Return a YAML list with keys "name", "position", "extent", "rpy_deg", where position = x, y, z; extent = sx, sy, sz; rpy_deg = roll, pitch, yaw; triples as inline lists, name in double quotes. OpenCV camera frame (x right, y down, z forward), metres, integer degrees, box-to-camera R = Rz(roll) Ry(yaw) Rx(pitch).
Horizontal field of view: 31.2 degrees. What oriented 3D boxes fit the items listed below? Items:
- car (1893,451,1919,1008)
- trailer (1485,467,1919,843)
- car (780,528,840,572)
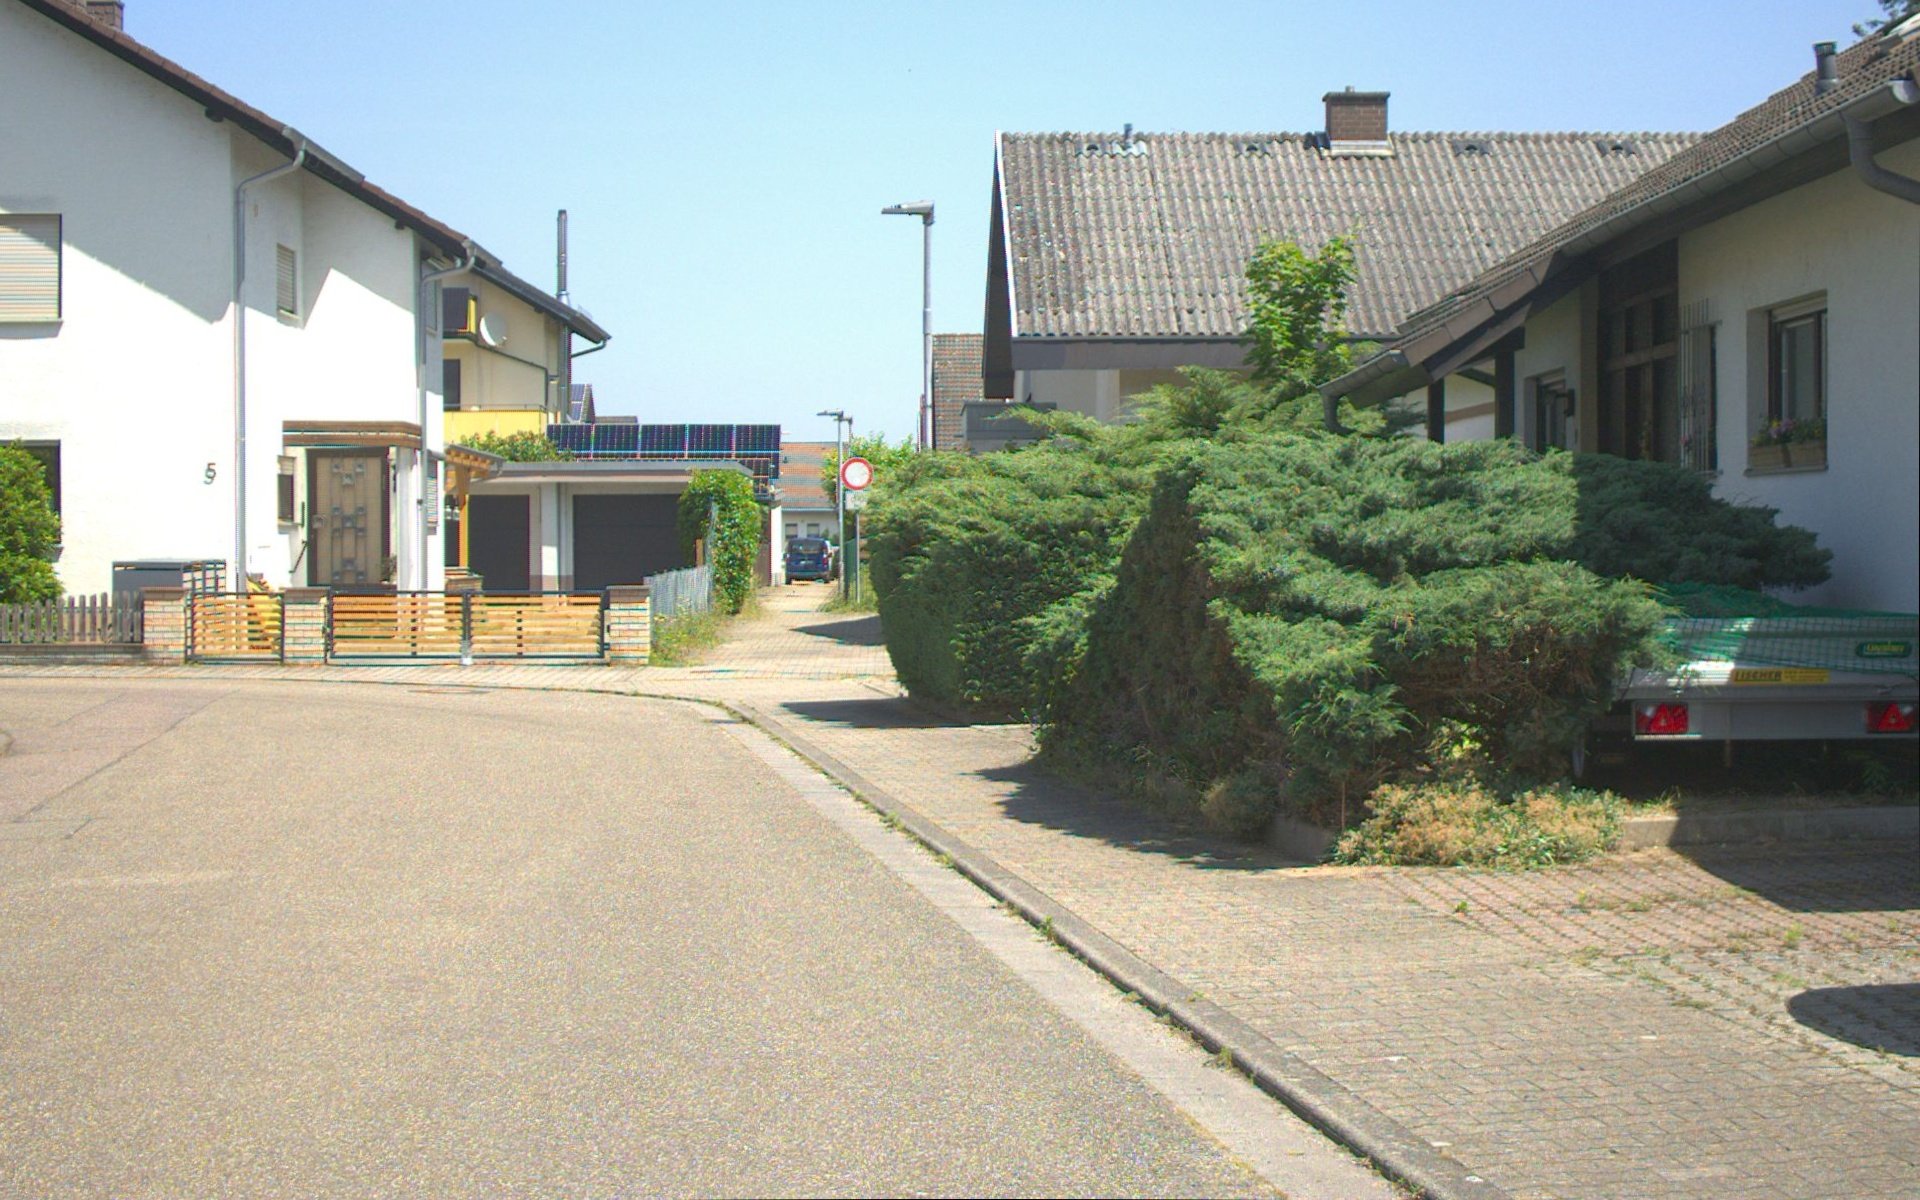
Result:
- name: "car"
  position: [5.192, 0.344, 9.703]
  extent: [4.627, 1.696, 1.709]
  rpy_deg: [-2, 1, 2]
- name: "trailer"
  position: [3.720, 0.201, 17.273]
  extent: [1.587, 1.666, 3.297]
  rpy_deg: [-2, 2, -1]
- name: "car"
  position: [-5.883, -1.979, 135.213]
  extent: [2.193, 1.695, 3.807]
  rpy_deg: [0, 1, -1]
